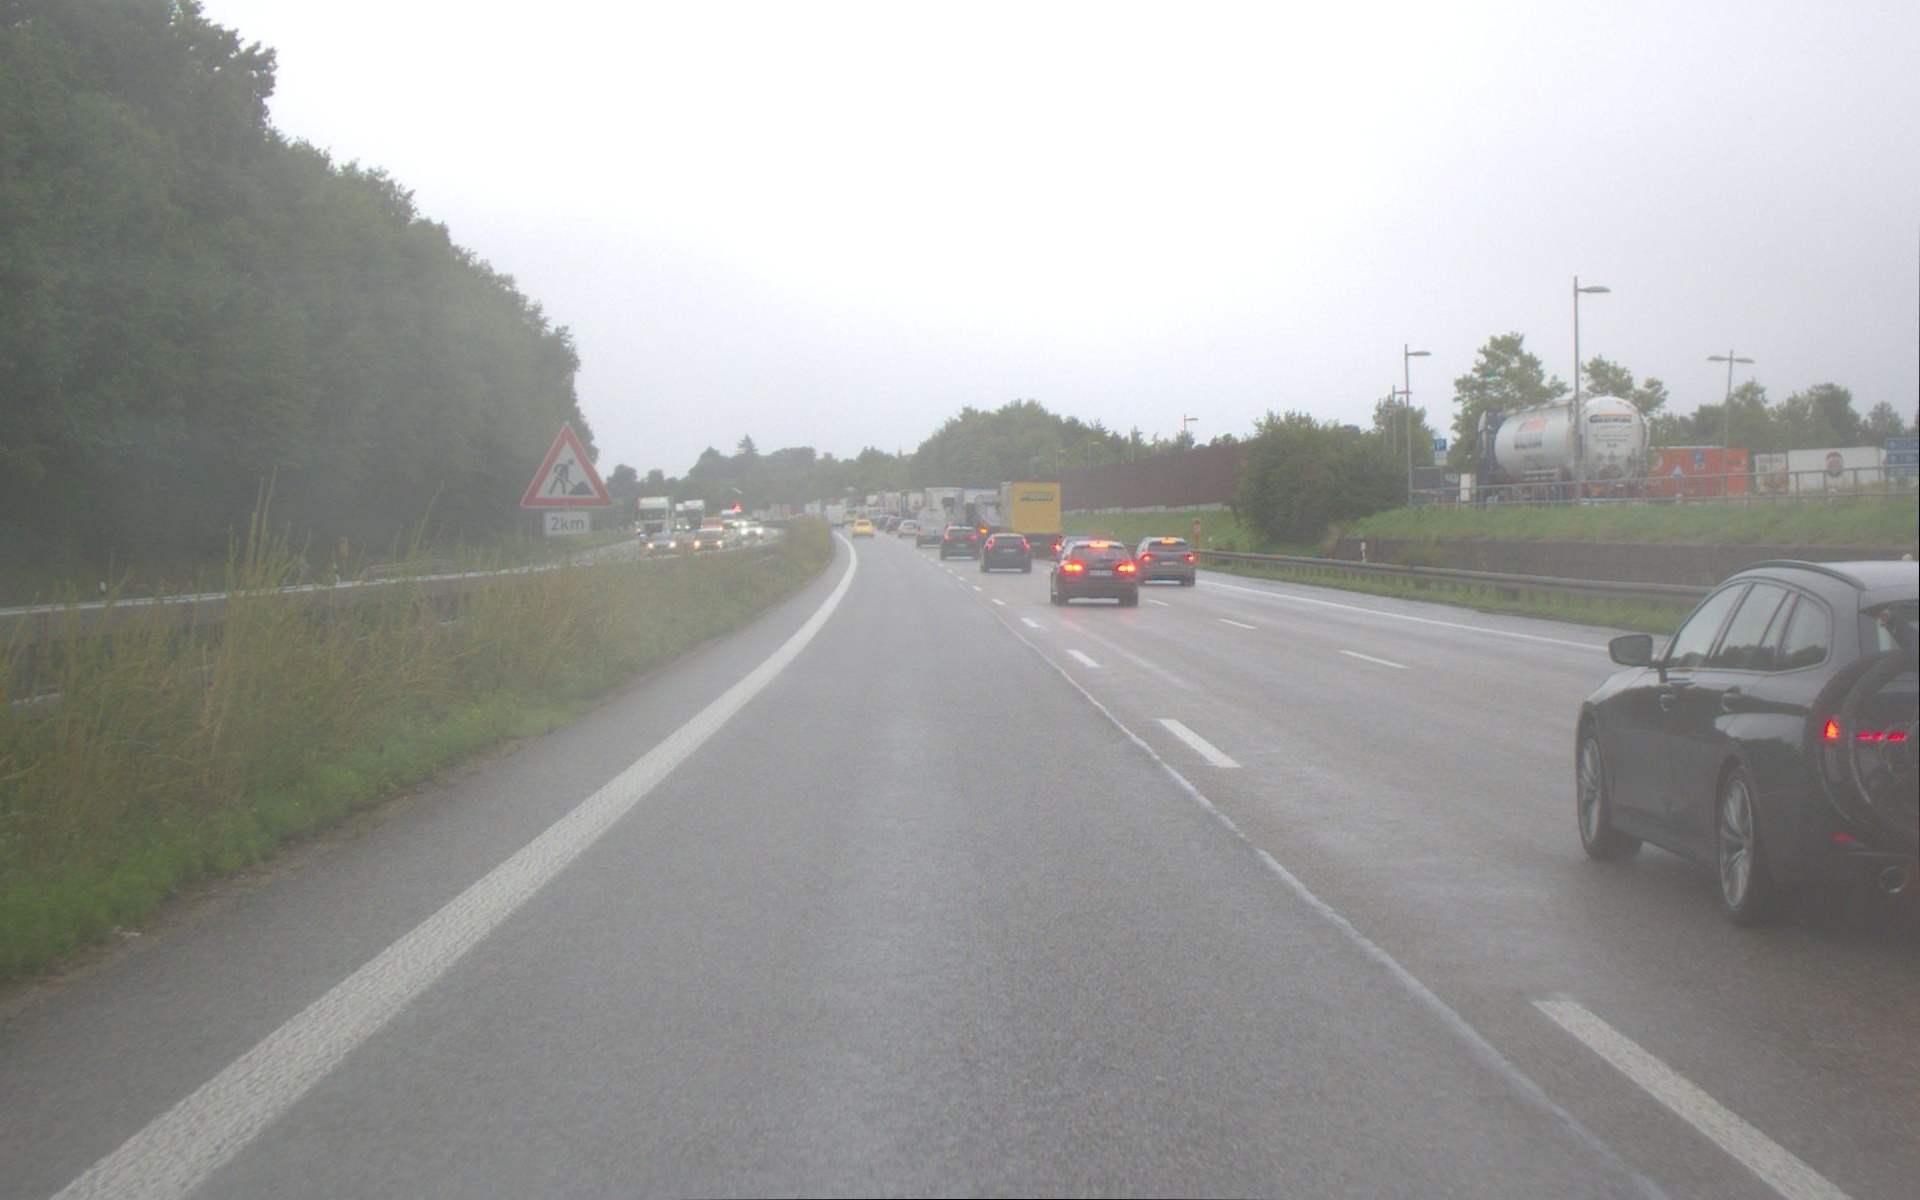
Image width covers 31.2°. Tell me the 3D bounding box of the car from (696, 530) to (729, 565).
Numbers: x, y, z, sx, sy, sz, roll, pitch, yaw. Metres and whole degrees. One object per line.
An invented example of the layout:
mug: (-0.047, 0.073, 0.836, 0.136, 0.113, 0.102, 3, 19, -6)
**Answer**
car: (-13.572, -2.894, 188.714, 1.603, 1.878, 3.572, -1, 1, -1)

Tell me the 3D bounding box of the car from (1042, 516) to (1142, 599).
car: (2.906, -0.965, 76.480, 1.993, 1.755, 4.000, -1, 1, -1)

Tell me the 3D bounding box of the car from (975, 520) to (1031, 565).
car: (1.602, -2.195, 130.052, 1.993, 1.623, 4.000, -1, 1, -1)

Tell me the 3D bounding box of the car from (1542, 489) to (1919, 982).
car: (3.957, 0.455, 14.396, 2.057, 1.666, 5.522, 1, 0, 0)

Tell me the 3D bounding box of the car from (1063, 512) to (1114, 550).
car: (5.666, -3.040, 152.198, 1.993, 1.623, 4.000, -1, 1, -1)

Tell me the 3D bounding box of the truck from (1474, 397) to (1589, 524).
truck: (19.259, -4.673, 116.143, 2.949, 4.131, 4.922, -1, 1, 0)

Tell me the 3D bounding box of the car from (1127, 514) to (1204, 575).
car: (6.184, -1.693, 104.013, 1.993, 1.755, 4.000, -1, 1, -1)

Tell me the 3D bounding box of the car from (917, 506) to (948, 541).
car: (-1.836, -5.032, 226.059, 1.993, 2.197, 4.000, -1, 1, -1)

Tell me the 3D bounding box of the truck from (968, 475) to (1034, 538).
truck: (2.648, -6.078, 225.163, 3.924, 3.967, 12.240, -1, 1, -1)

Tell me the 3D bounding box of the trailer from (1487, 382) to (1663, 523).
trailer: (19.369, -4.547, 109.136, 2.985, 4.142, 12.957, -1, 1, -1)

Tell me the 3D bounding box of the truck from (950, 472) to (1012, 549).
truck: (1.495, -6.685, 257.141, 4.287, 5.549, 12.240, -1, 1, -1)

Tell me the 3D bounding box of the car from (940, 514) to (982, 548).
car: (0.028, -3.378, 169.124, 1.993, 1.623, 4.000, -1, 1, -1)

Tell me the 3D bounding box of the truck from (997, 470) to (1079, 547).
truck: (4.153, -4.946, 186.763, 3.924, 3.967, 12.240, -1, 1, -1)

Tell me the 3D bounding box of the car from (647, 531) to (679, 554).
car: (-18.335, -3.550, 212.182, 1.678, 1.393, 4.000, -1, 1, -1)
